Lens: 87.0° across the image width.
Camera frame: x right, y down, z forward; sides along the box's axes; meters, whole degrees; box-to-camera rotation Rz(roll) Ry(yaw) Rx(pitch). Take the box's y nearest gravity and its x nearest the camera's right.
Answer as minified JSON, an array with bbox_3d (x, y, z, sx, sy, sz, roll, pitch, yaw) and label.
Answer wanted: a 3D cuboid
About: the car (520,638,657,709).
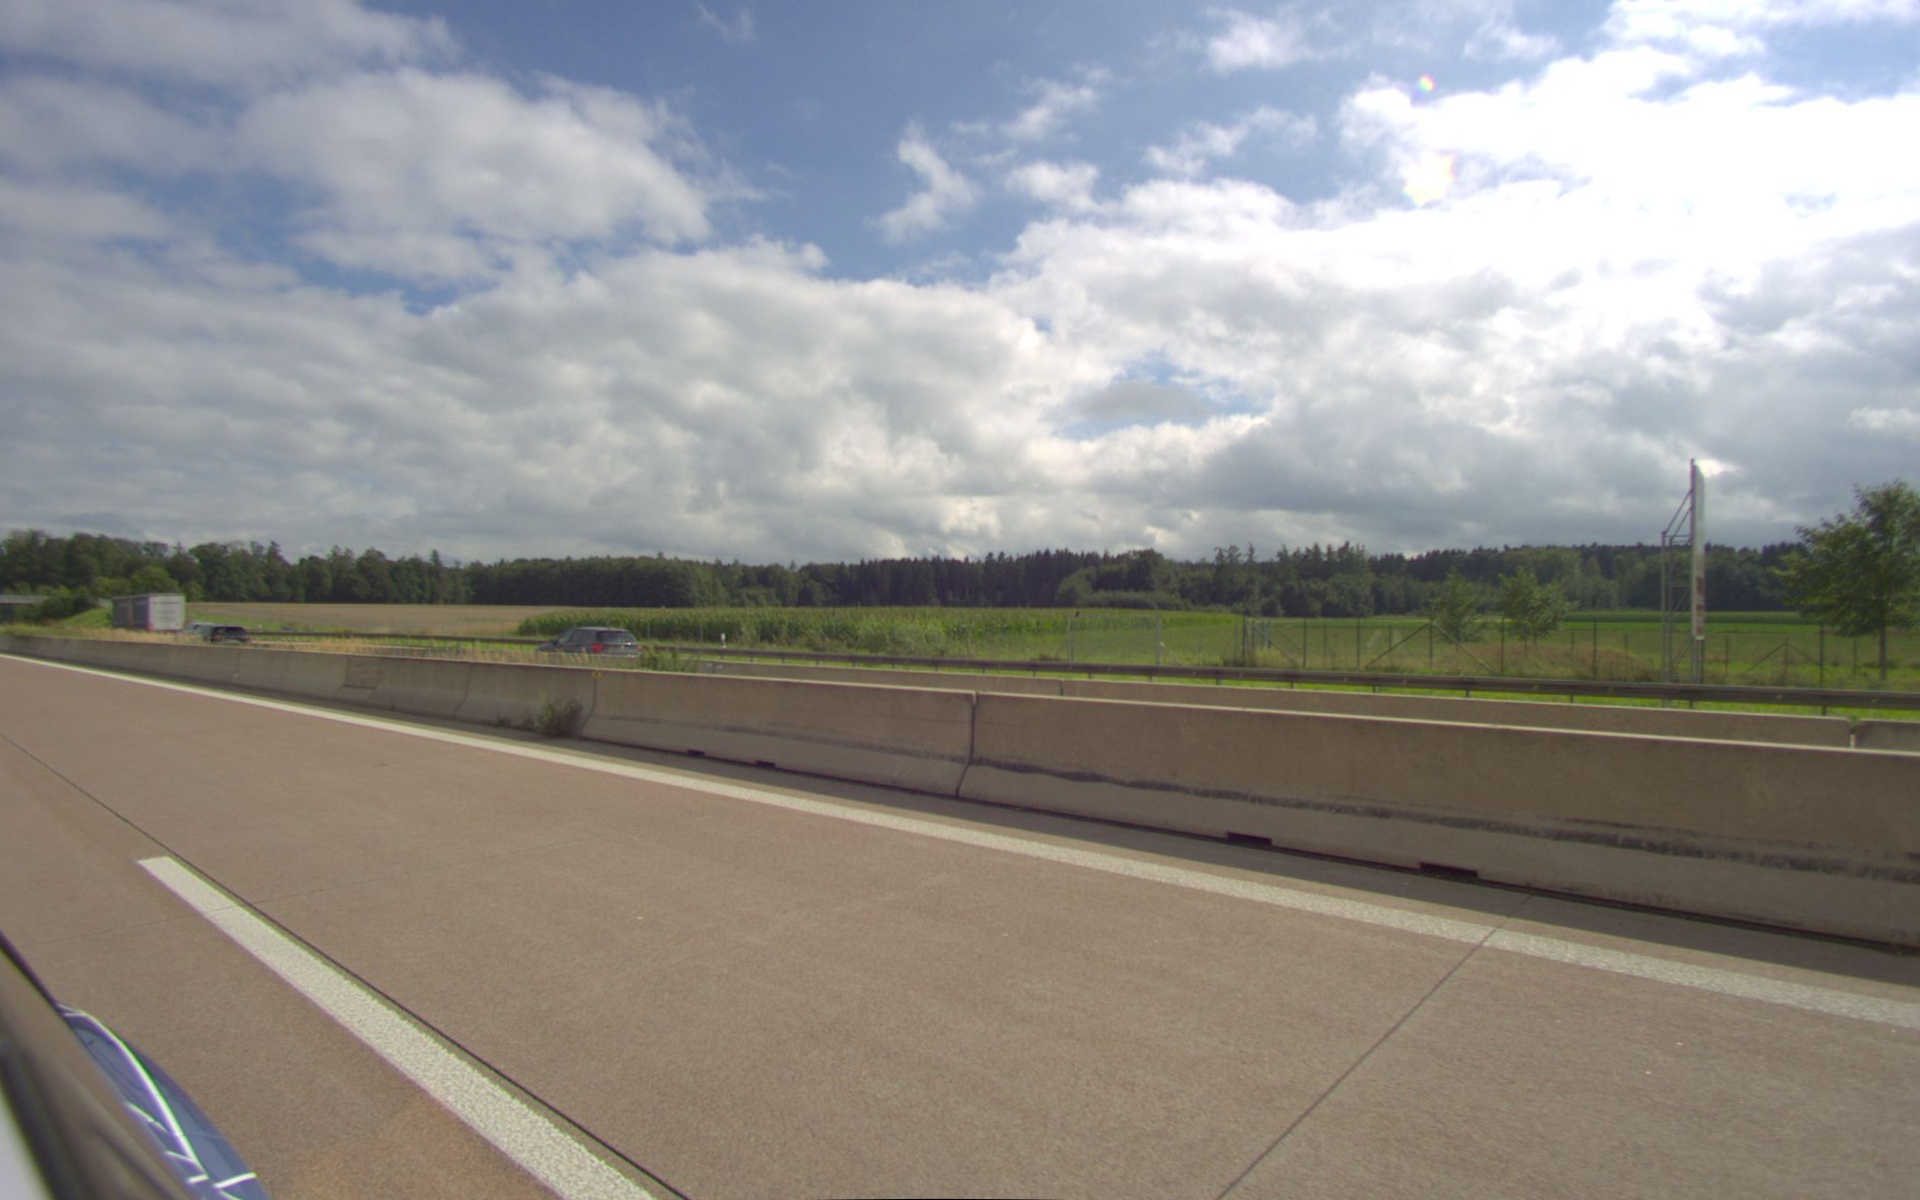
[{"bbox_3d":[-10.887,2.067,29.550,4.193,1.875,1.973,-1,-2,40],"label":"car"}]

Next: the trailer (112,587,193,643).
[{"bbox_3d":[-71.274,1.400,89.126,13.866,4.611,3.369,-1,-2,42],"label":"trailer"}]

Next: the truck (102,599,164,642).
[{"bbox_3d":[-77.213,1.910,94.484,7.463,3.853,3.374,-1,-2,42],"label":"truck"}]

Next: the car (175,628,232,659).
[{"bbox_3d":[-46.880,2.673,62.714,3.997,1.875,1.973,-1,-2,40],"label":"car"}]

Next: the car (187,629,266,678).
[{"bbox_3d":[-32.138,2.295,44.309,3.998,2.029,1.972,-1,-2,41],"label":"car"}]
